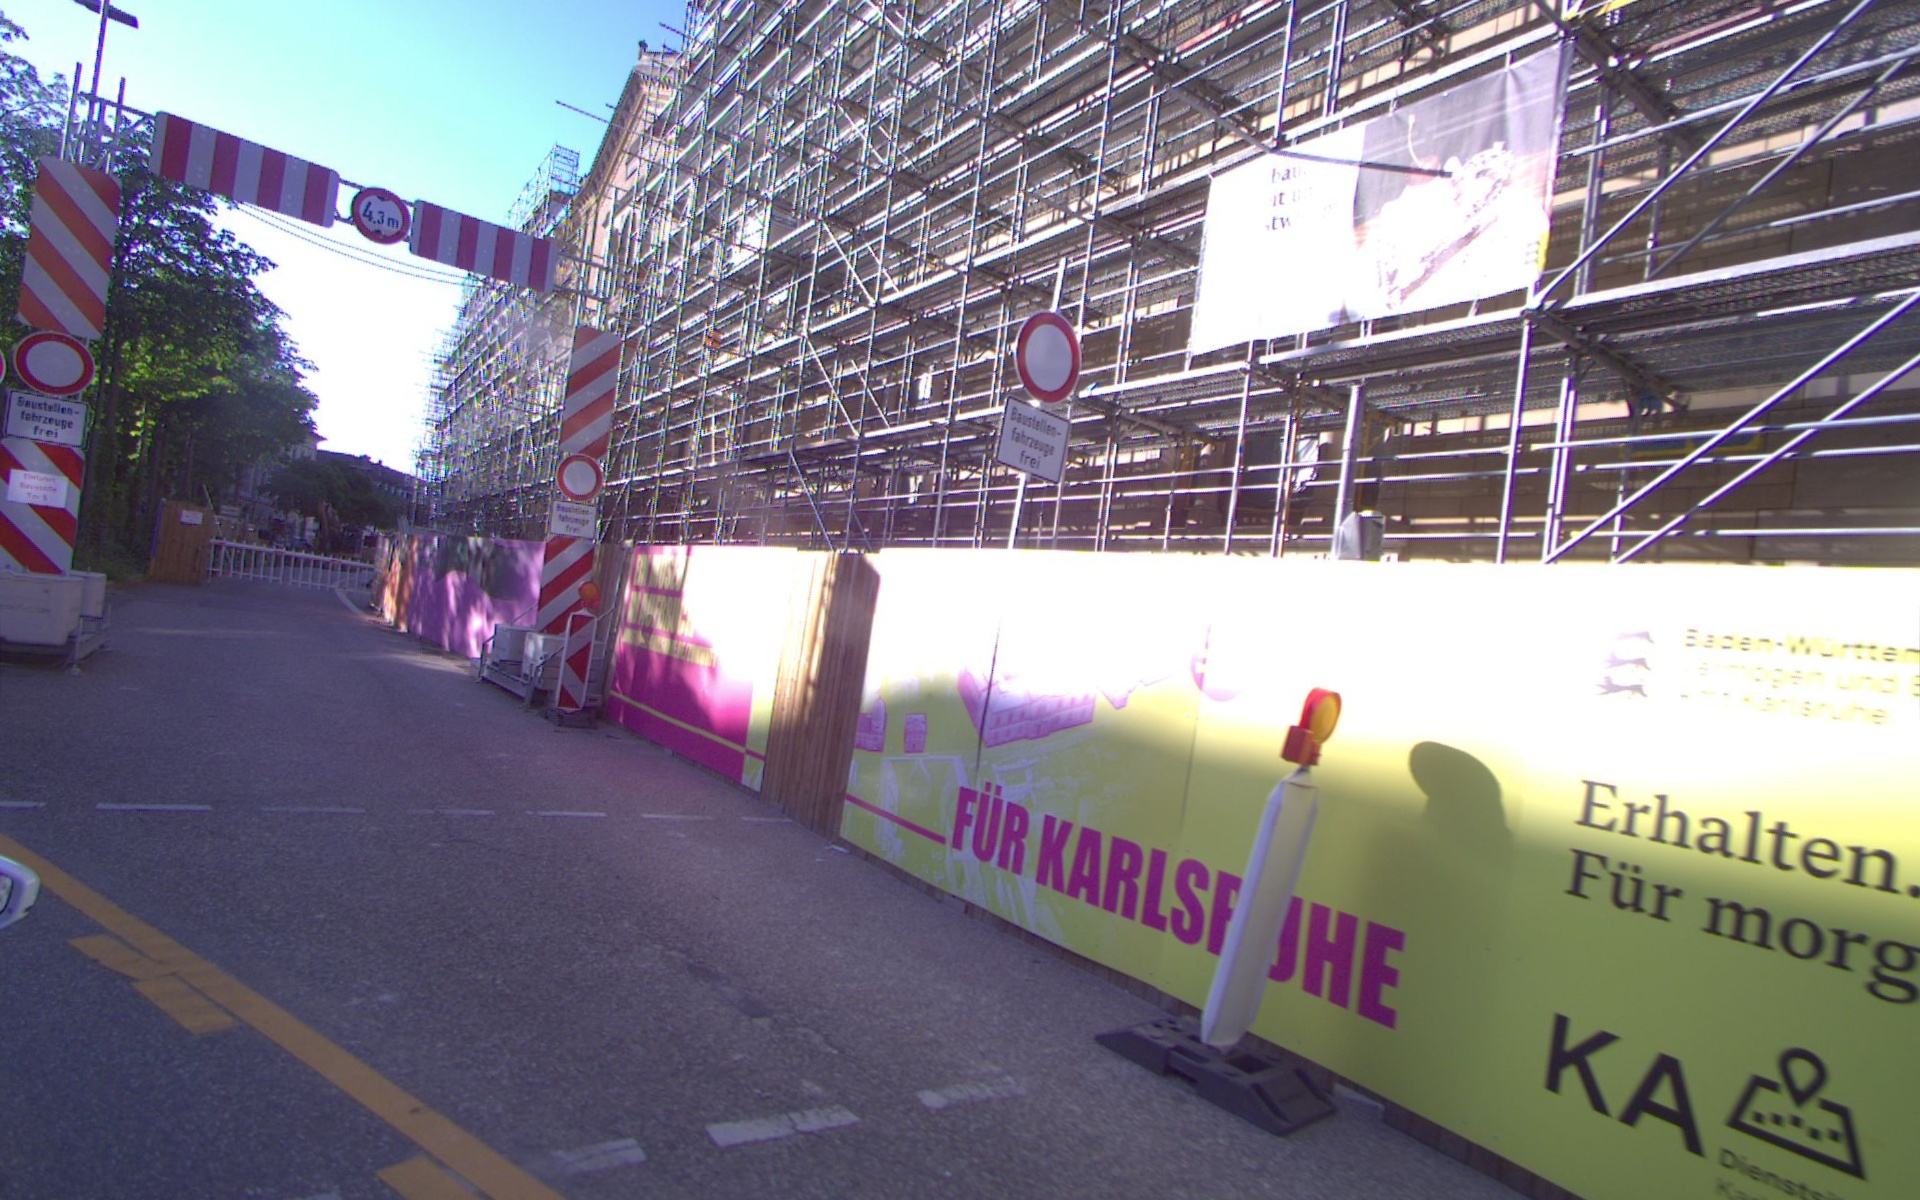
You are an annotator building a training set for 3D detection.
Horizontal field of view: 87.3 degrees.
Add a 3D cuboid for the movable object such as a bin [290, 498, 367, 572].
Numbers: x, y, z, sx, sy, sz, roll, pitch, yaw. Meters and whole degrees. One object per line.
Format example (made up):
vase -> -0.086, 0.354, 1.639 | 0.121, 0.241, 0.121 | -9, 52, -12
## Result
movable object such as a bin -> -44.650, -4.453, 71.387 | 3.276, 4.594, 7.859 | 6, -1, -25
